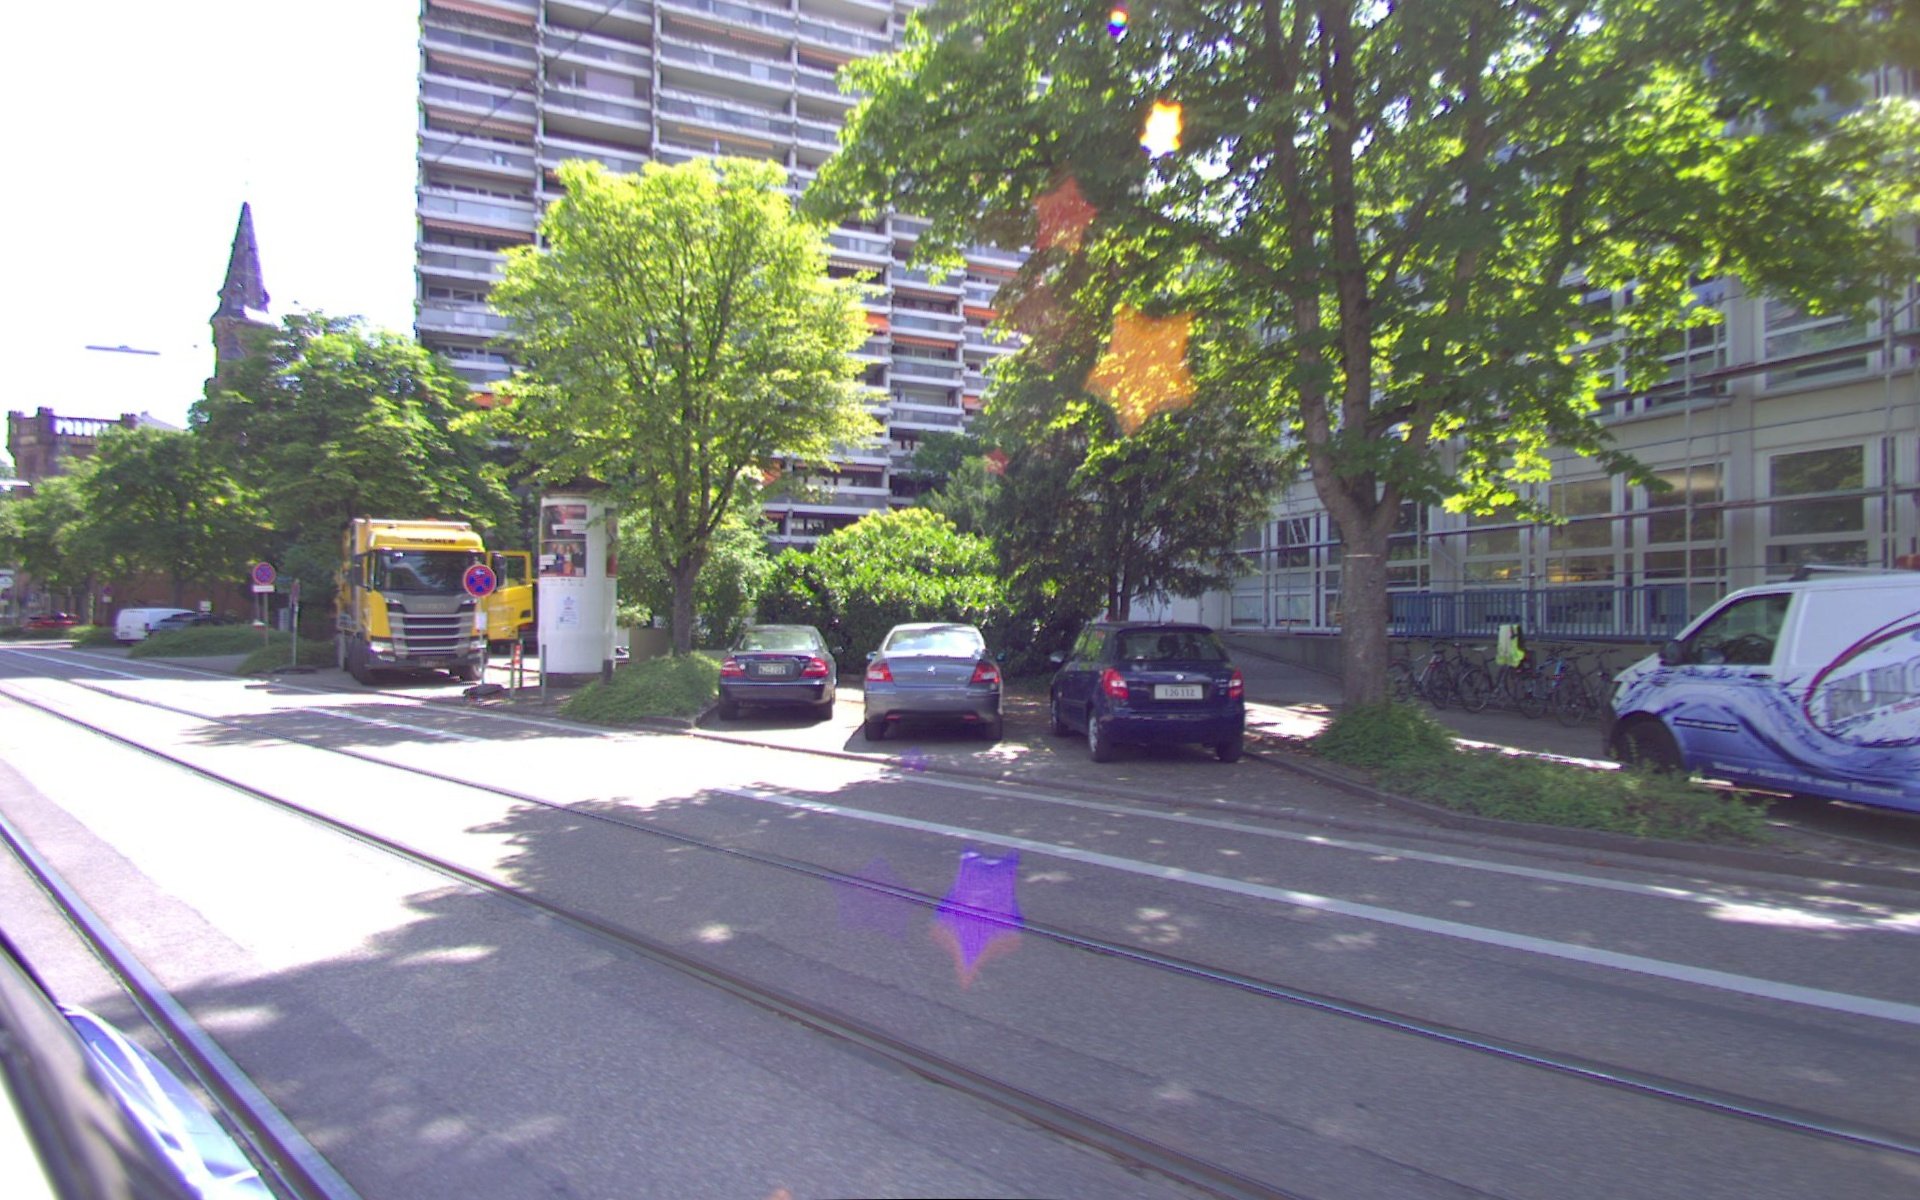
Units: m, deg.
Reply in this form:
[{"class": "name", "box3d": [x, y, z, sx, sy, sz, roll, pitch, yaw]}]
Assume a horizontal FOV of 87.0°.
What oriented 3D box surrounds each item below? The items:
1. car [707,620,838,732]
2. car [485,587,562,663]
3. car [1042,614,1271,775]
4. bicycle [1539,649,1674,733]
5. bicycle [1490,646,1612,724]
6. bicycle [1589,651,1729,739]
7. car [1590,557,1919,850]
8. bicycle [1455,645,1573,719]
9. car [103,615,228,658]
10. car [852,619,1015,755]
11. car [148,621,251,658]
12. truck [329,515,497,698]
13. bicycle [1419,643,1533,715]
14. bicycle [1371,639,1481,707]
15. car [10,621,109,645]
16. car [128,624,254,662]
[{"class": "car", "box3d": [-2.813, 1.126, 15.878, 1.735, 1.518, 3.714, 1, -2, -6]}, {"class": "car", "box3d": [-16.163, 0.862, 37.774, 2.147, 2.585, 6.746, 1, 0, -19]}, {"class": "car", "box3d": [2.110, 1.011, 11.868, 1.666, 1.556, 3.713, 1, -2, -5]}, {"class": "bicycle", "box3d": [9.385, 1.288, 14.677, 2.099, 1.083, 0.559, 0, -1, -24]}, {"class": "bicycle", "box3d": [9.164, 1.289, 15.681, 1.983, 1.083, 0.559, 0, -1, -24]}, {"class": "bicycle", "box3d": [9.705, 1.290, 14.033, 2.099, 1.083, 0.559, 0, -1, -24]}, {"class": "car", "box3d": [7.276, 0.742, 7.467, 1.892, 1.949, 4.763, 2, -3, -7]}, {"class": "bicycle", "box3d": [8.904, 1.294, 16.248, 1.983, 1.083, 0.559, 0, -1, -24]}, {"class": "car", "box3d": [-36.603, 1.643, 46.778, 1.879, 1.805, 4.537, -1, -1, 8]}, {"class": "car", "box3d": [-0.327, 1.090, 13.790, 1.848, 1.518, 4.203, 1, -2, 0]}, {"class": "car", "box3d": [-34.084, 1.745, 45.493, 1.747, 1.544, 3.951, -1, -1, -1]}, {"class": "truck", "box3d": [-14.763, 0.156, 26.750, 2.679, 3.871, 10.991, 0, 0, -35]}, {"class": "bicycle", "box3d": [8.610, 1.296, 16.868, 1.983, 1.083, 0.559, 0, -1, -24]}, {"class": "bicycle", "box3d": [8.149, 1.250, 17.675, 1.983, 1.083, 0.559, 0, -1, -24]}, {"class": "car", "box3d": [-60.871, 2.223, 68.527, 1.981, 1.578, 4.761, 0, -1, 12]}, {"class": "car", "box3d": [-31.775, 1.746, 41.993, 1.749, 1.405, 4.444, -1, -1, 2]}]
